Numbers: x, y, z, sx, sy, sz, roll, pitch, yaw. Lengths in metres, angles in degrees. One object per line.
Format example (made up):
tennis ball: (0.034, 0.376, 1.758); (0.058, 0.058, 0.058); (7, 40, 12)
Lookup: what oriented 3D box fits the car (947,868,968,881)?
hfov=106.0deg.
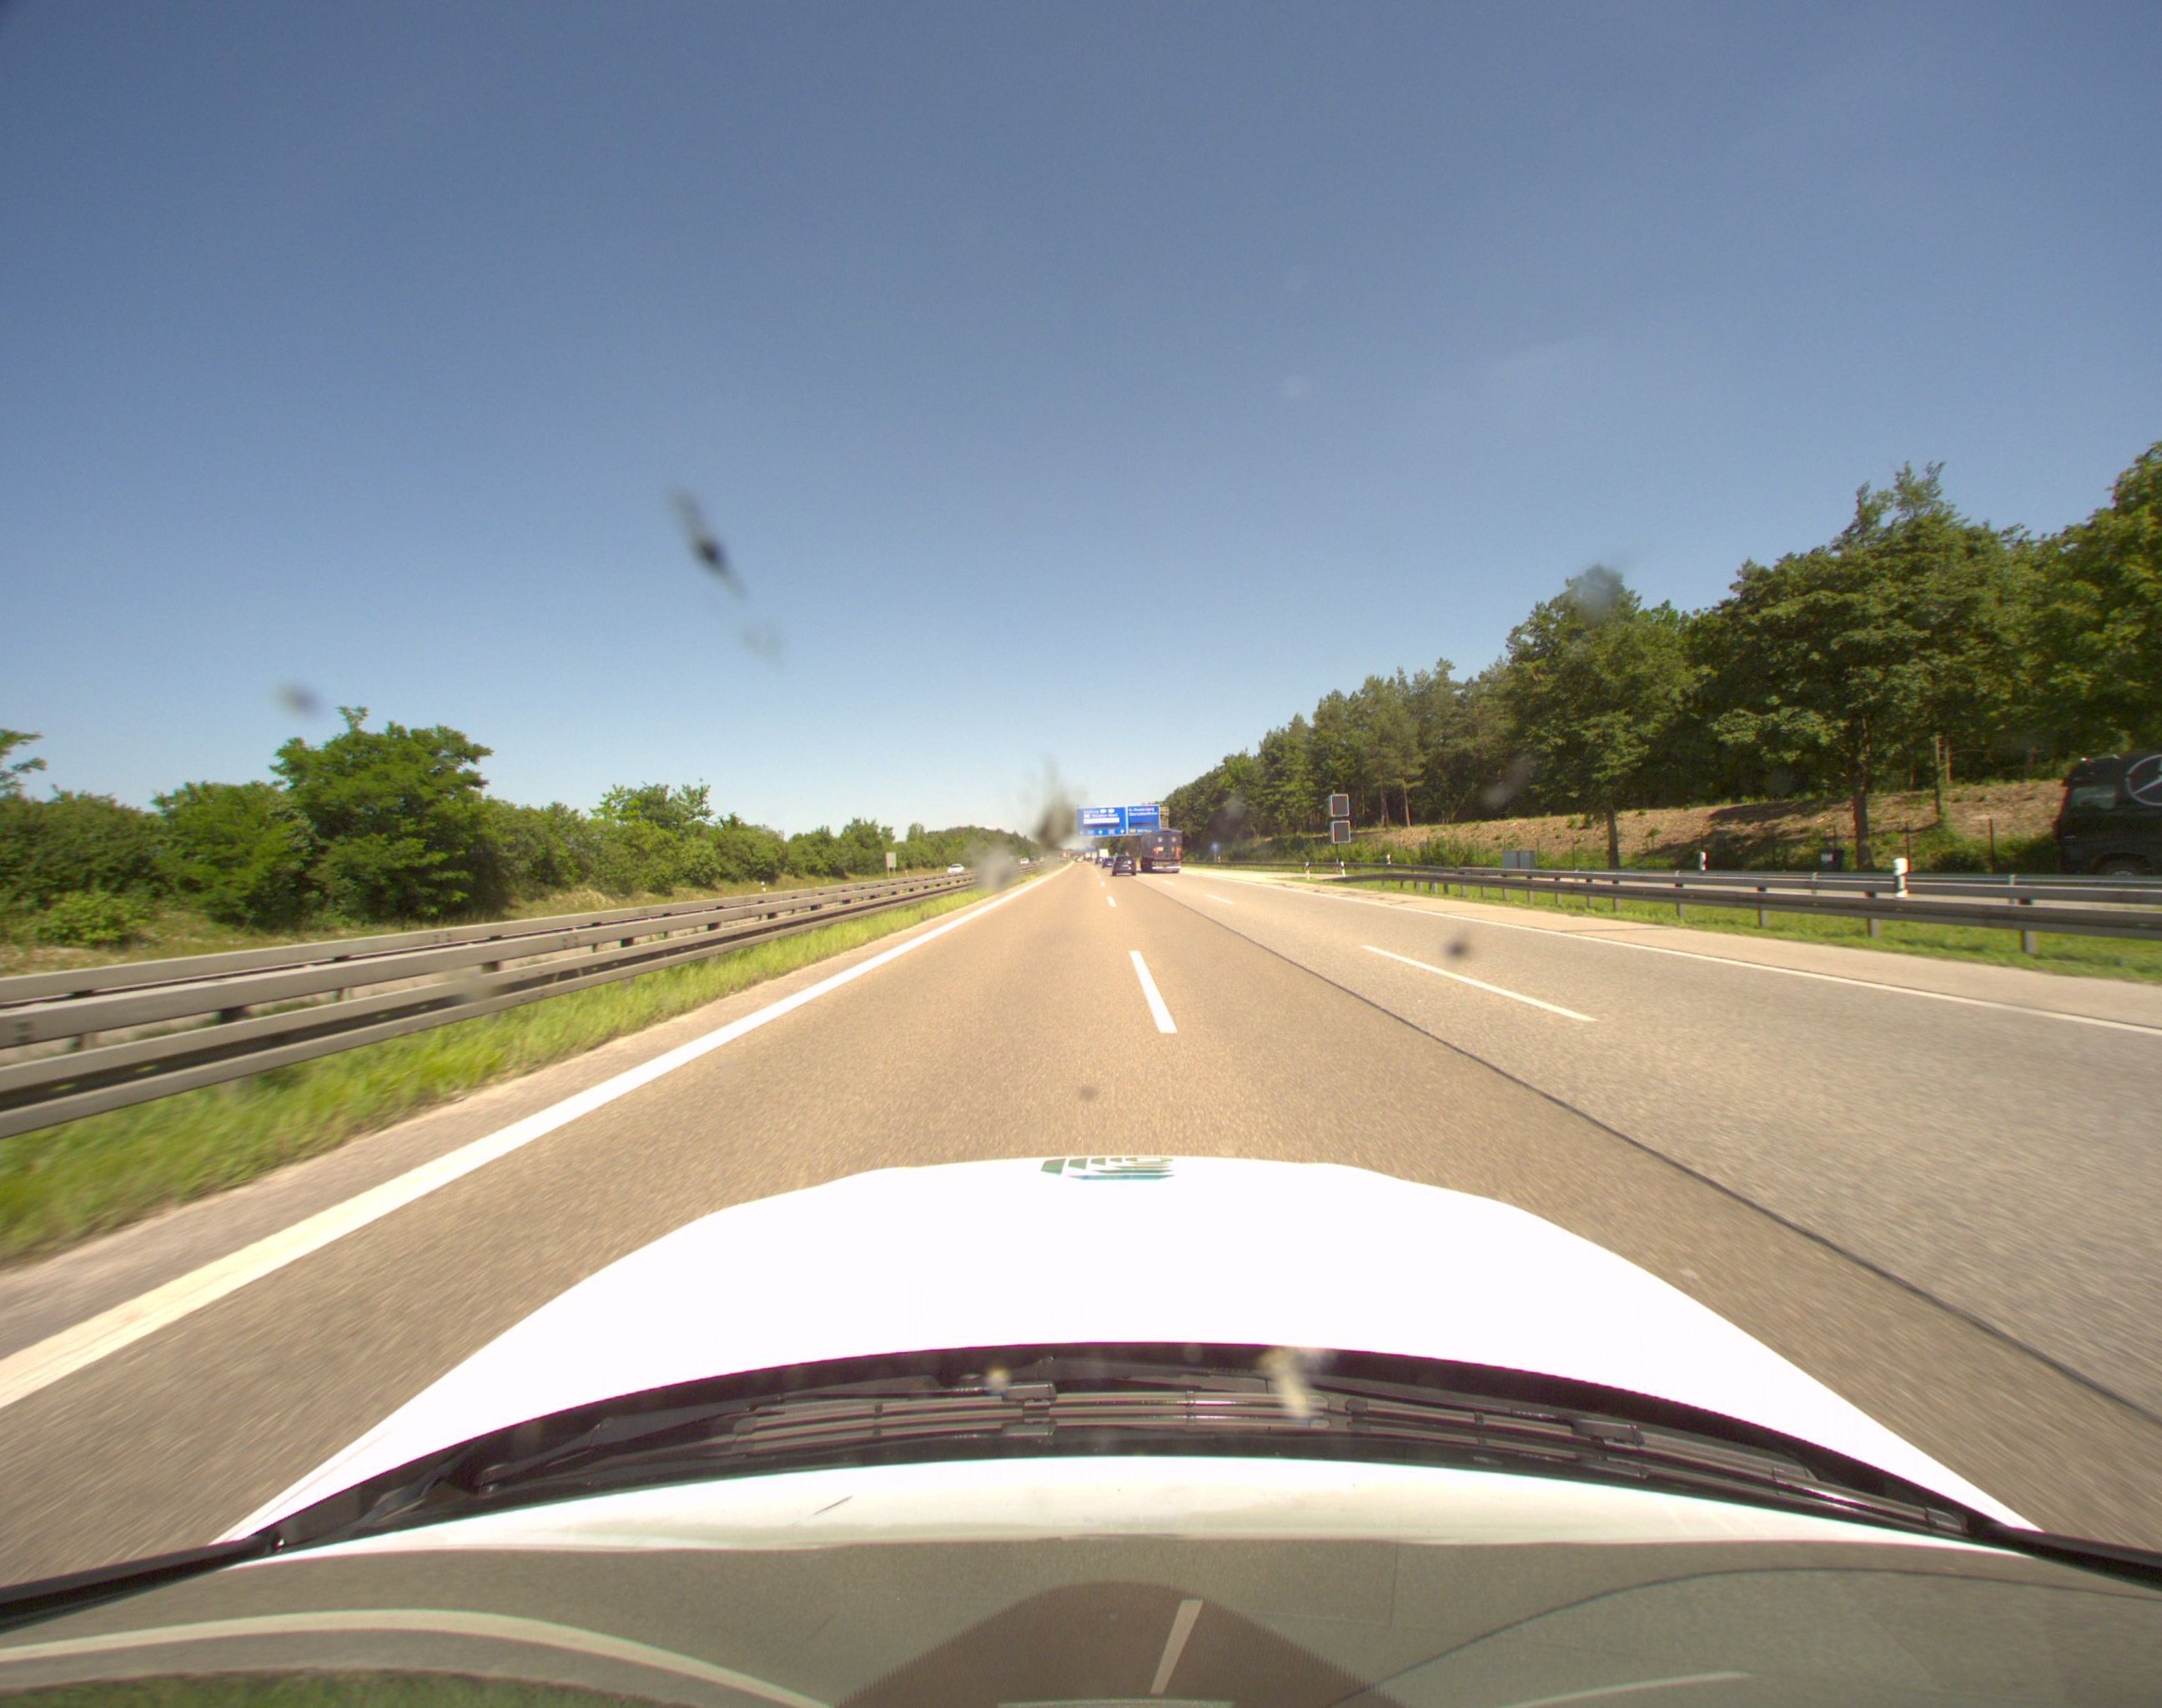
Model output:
car: (-17.085, 2.855, 112.777); (1.986, 1.593, 4.302); (-2, 0, 1)

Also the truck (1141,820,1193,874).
truck: (7.734, -0.589, 75.454); (3.766, 4.422, 14.056); (-1, 0, 2)

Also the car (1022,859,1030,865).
car: (-13.114, 1.879, 195.230); (1.598, 1.299, 3.792); (-1, 0, 1)

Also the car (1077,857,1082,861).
car: (-0.558, 1.444, 259.557); (1.465, 1.227, 3.412); (-2, 0, 2)

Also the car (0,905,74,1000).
car: (-17.914, 1.601, 11.444); (1.781, 1.439, 4.522); (-2, 0, 2)

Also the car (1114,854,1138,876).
car: (3.642, 0.831, 64.797); (1.791, 1.669, 4.264); (-1, 0, 4)

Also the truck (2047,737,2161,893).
truck: (28.489, -1.020, 20.402); (2.573, 3.915, 4.846); (-1, 0, -12)

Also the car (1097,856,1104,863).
car: (4.053, 1.069, 166.755); (1.465, 1.398, 3.412); (1, 0, 2)

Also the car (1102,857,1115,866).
car: (3.649, 0.969, 109.696); (1.702, 1.155, 3.691); (-2, 0, 2)
